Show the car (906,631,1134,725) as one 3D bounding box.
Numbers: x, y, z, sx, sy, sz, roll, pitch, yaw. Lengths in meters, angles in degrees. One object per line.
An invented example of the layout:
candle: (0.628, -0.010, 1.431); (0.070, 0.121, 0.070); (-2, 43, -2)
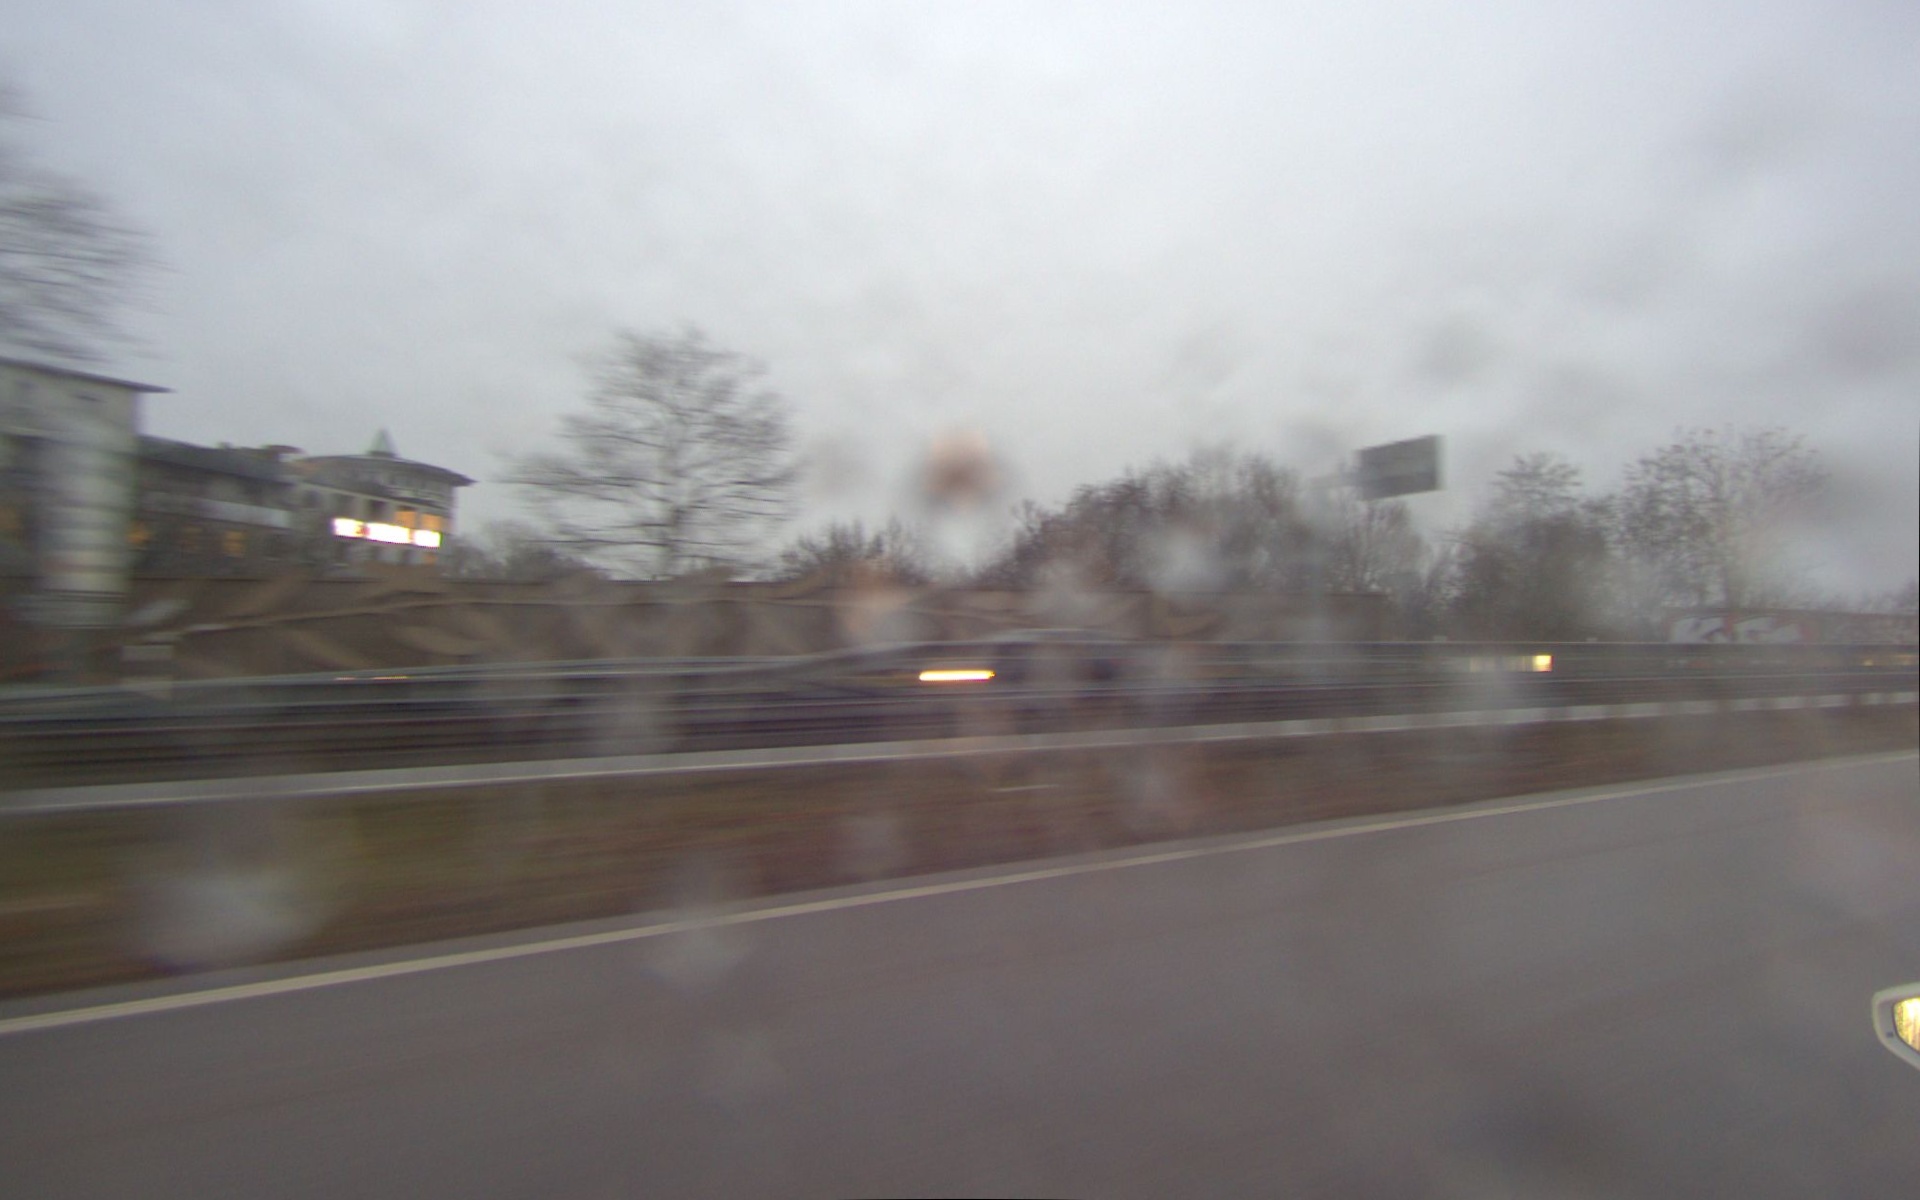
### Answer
car: (1.059, 1.281, 17.405); (3.595, 1.428, 1.747); (1, -1, -30)
